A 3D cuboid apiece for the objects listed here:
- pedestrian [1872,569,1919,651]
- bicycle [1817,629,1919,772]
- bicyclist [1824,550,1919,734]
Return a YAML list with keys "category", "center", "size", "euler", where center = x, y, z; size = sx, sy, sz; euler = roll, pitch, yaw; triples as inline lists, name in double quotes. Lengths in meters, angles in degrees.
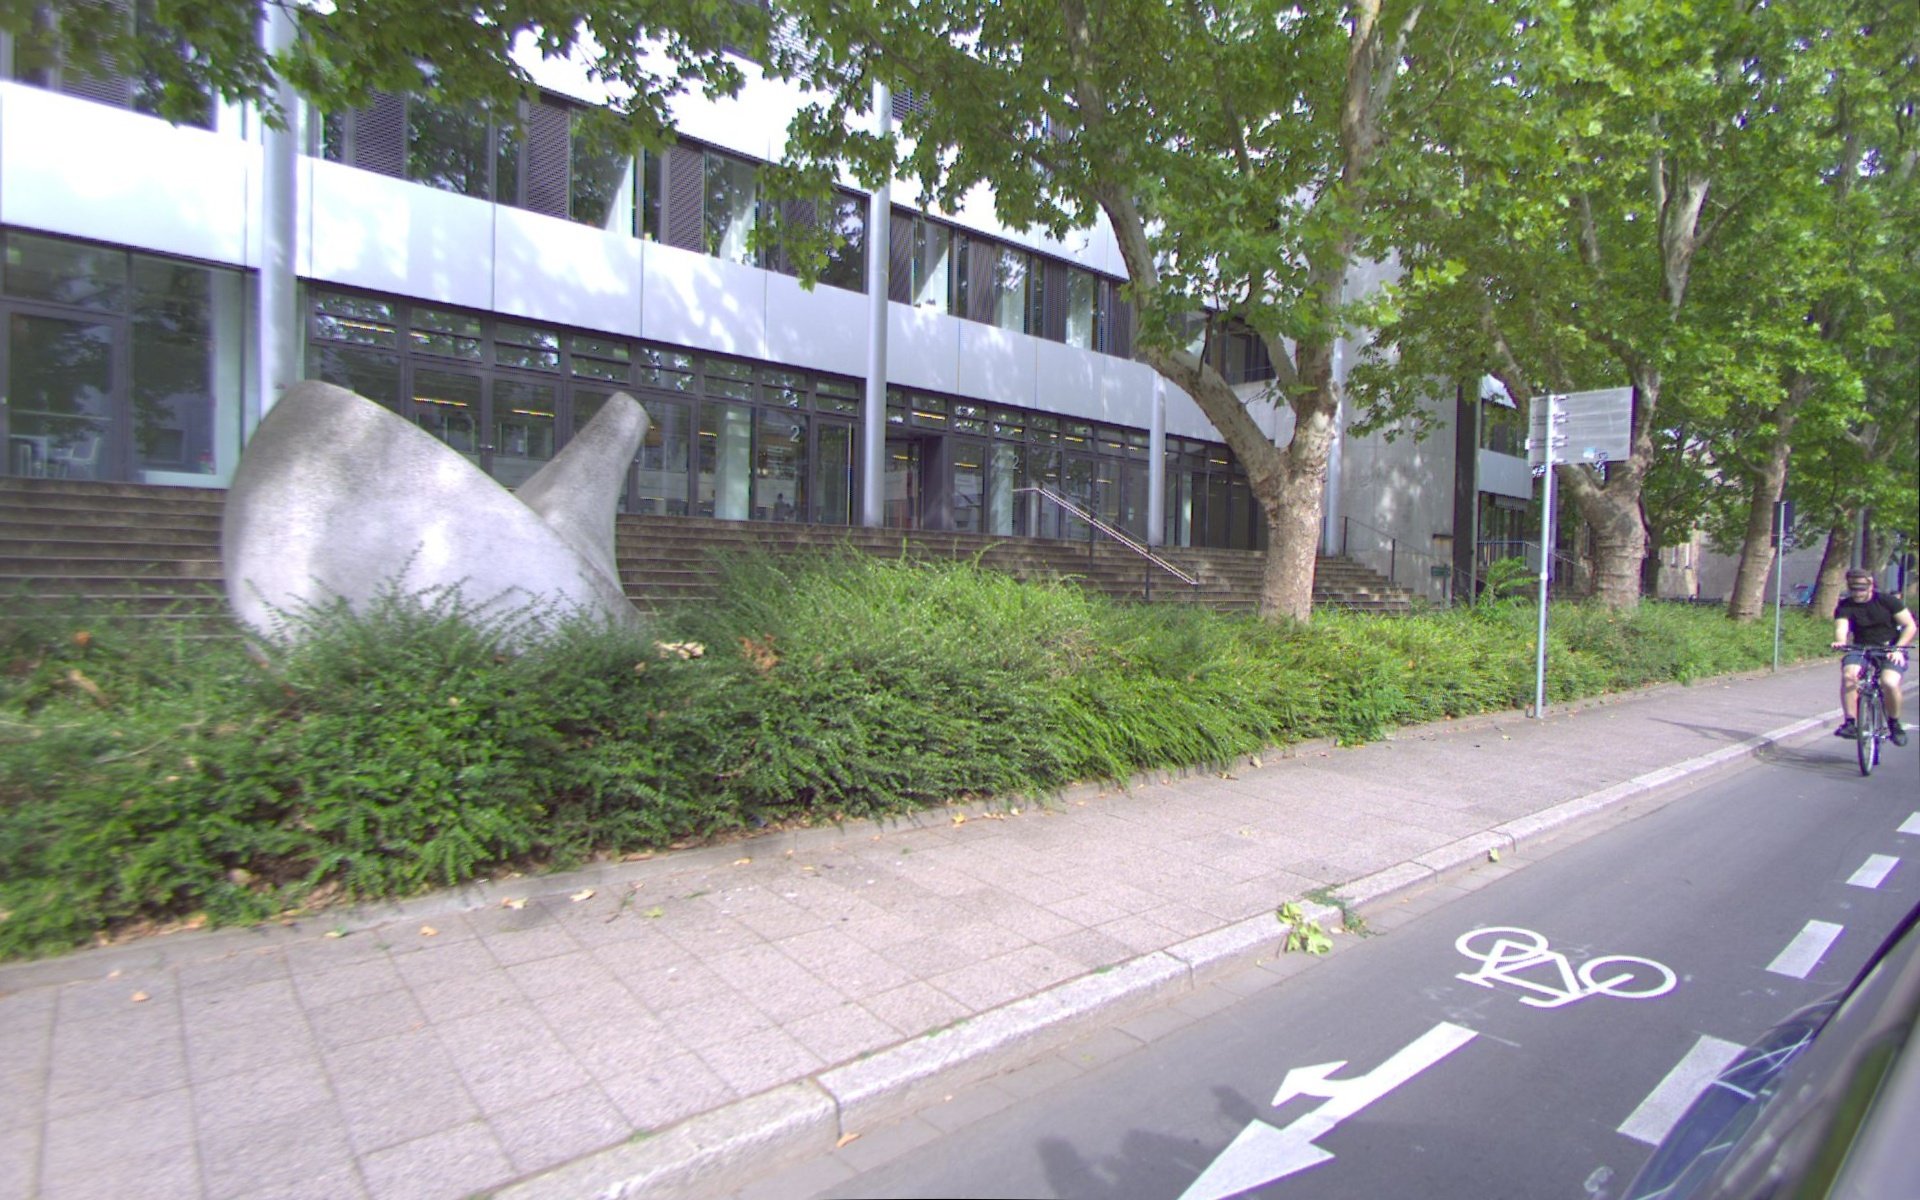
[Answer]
- category: "pedestrian"
  center: [23.972, 0.254, 25.739]
  size: [0.979, 2.039, 1.003]
  euler: [0, 0, -38]
- category: "bicycle"
  center: [8.490, 0.859, 9.261]
  size: [1.970, 1.145, 0.771]
  euler: [1, -1, -44]
- category: "bicyclist"
  center: [8.486, 0.369, 9.274]
  size: [0.788, 1.603, 0.771]
  euler: [1, -2, -44]
